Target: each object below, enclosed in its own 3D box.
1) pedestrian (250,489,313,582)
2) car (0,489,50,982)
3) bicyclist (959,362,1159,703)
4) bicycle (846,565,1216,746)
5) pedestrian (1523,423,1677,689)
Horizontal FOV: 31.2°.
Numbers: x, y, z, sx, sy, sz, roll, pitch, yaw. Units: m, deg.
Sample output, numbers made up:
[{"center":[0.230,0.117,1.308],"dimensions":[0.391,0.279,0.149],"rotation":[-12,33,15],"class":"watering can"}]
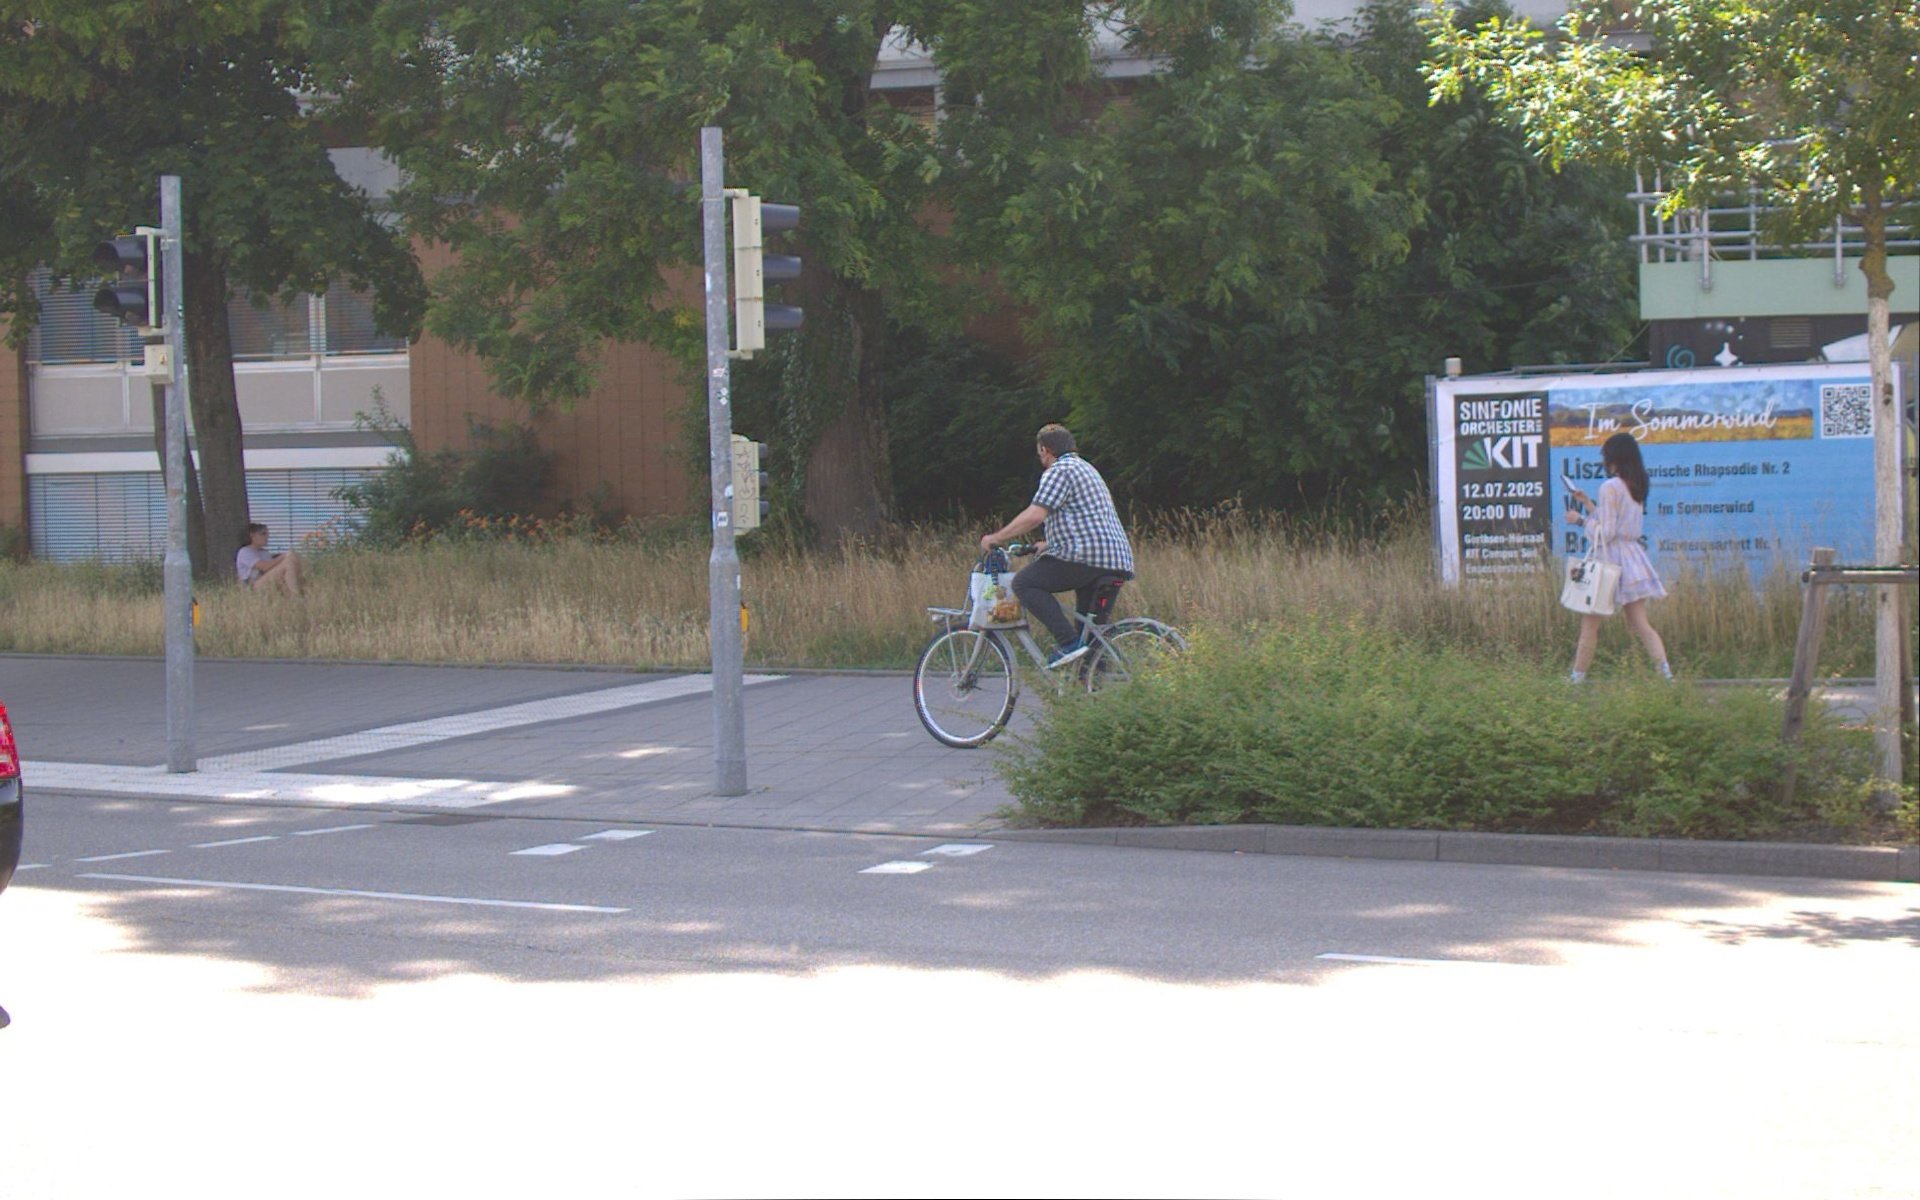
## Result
[{"center":[-6.560,-0.628,33.242],"dimensions":[0.428,0.888,0.393],"rotation":[0,2,27],"class":"pedestrian"},{"center":[-4.951,0.440,12.164],"dimensions":[1.859,1.524,4.713],"rotation":[-3,2,-34],"class":"car"},{"center":[0.559,-0.384,19.364],"dimensions":[0.858,1.872,0.687],"rotation":[0,3,30],"class":"bicyclist"},{"center":[0.396,0.320,19.451],"dimensions":[1.955,0.943,0.693],"rotation":[-2,2,29],"class":"bicycle"},{"center":[3.880,-0.273,20.814],"dimensions":[0.812,1.574,0.691],"rotation":[0,2,19],"class":"pedestrian"}]
